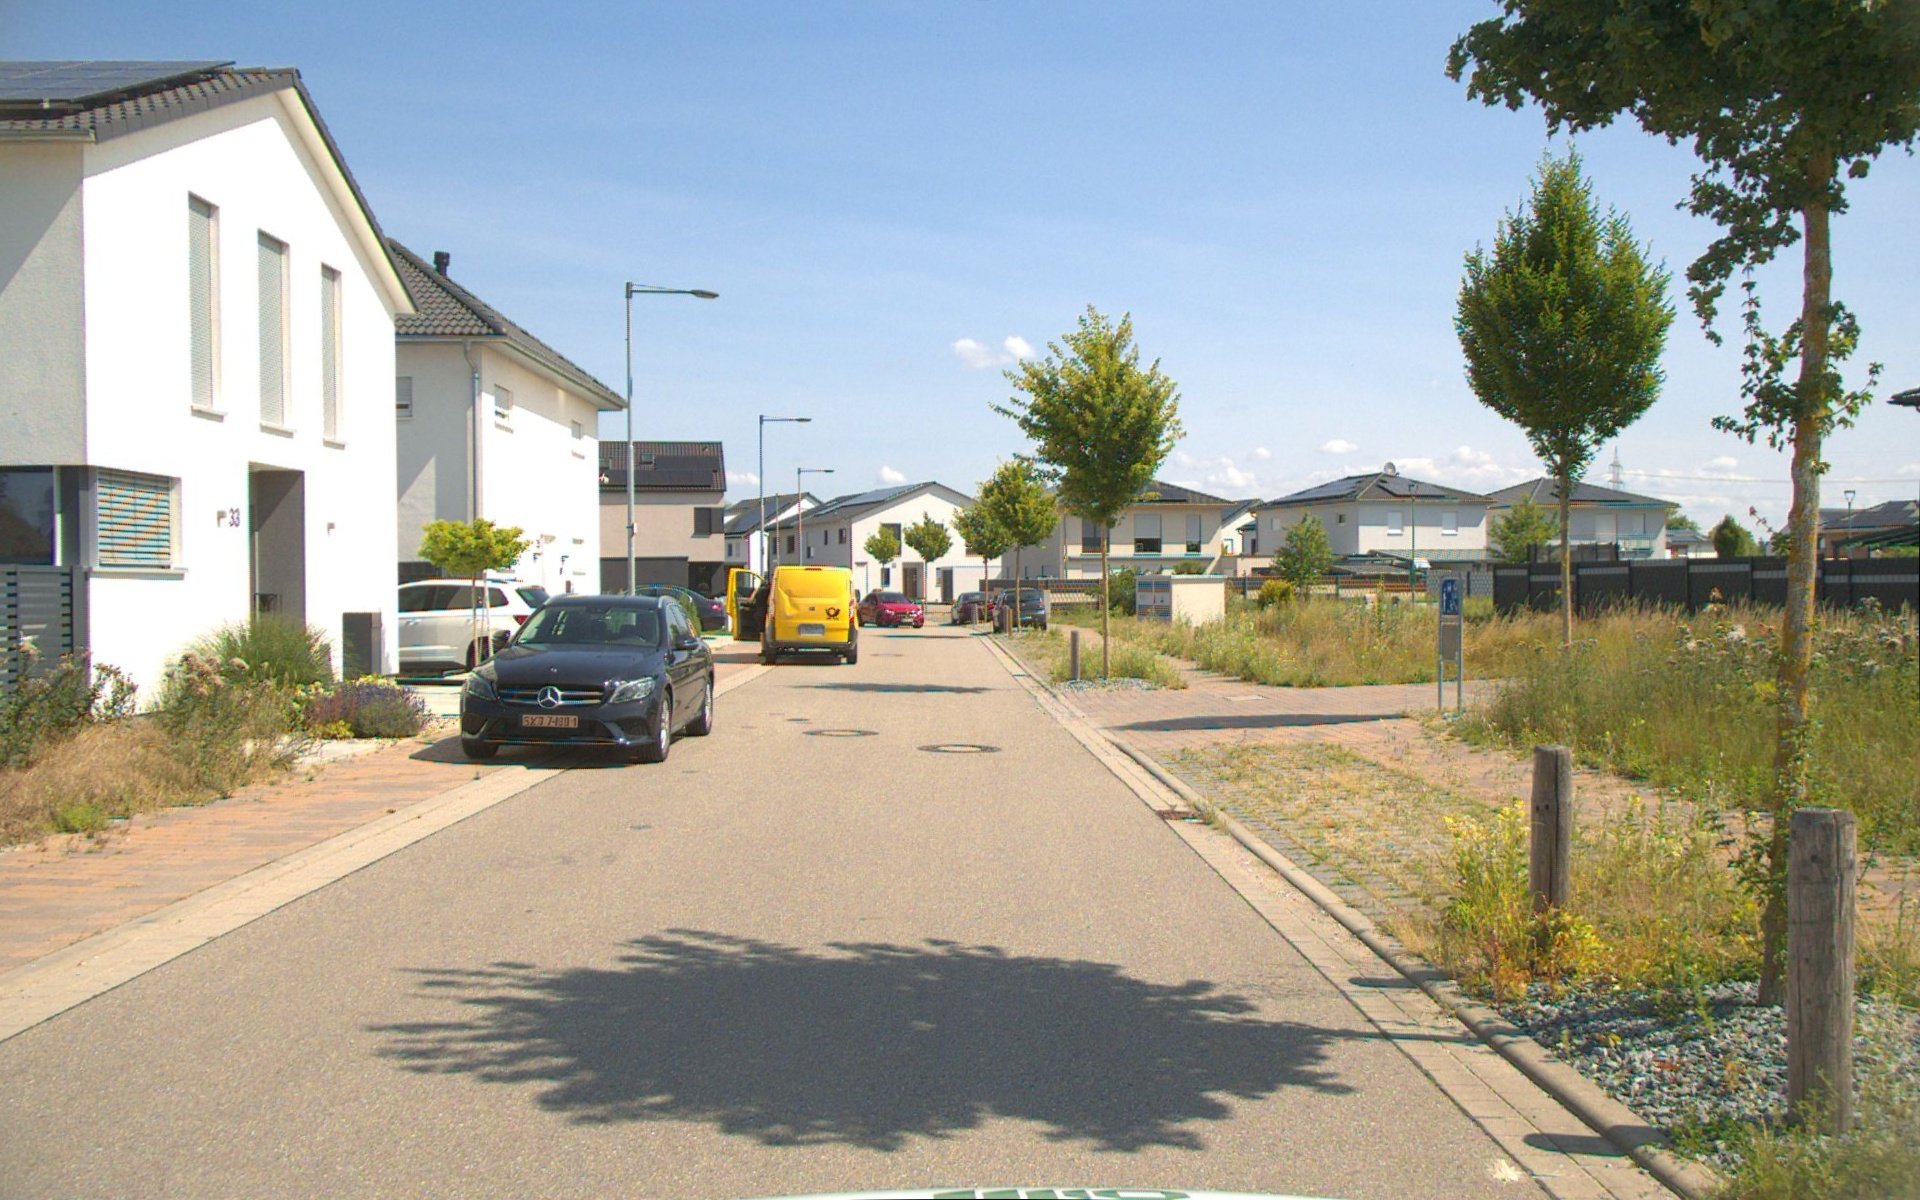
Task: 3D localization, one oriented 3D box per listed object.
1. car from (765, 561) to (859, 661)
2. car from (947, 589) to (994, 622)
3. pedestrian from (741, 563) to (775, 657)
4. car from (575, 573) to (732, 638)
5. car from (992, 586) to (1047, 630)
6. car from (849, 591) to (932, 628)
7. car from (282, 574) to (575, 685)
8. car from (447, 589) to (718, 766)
[{"bbox_3d":[-3.191,0.244,35.812,1.903,2.016,4.212,-1,-1,-5],"label":"car"},{"bbox_3d":[0.458,0.265,74.584,1.597,1.346,3.826,0,-2,-8],"label":"car"},{"bbox_3d":[-4.481,0.213,36.732,0.638,2.049,1.123,-1,-1,-2],"label":"pedestrian"},{"bbox_3d":[-8.607,0.157,46.423,4.095,1.531,1.807,4,-1,-17],"label":"car"},{"bbox_3d":[1.982,0.289,56.002,1.606,1.427,3.809,-1,-1,-2],"label":"car"},{"bbox_3d":[-2.865,0.351,67.117,1.965,1.456,4.670,0,0,-21],"label":"car"},{"bbox_3d":[-8.310,0.436,26.053,3.983,1.609,1.785,1,1,4],"label":"car"},{"bbox_3d":[-3.458,0.637,15.920,1.710,1.429,4.159,2,0,-2],"label":"car"}]
